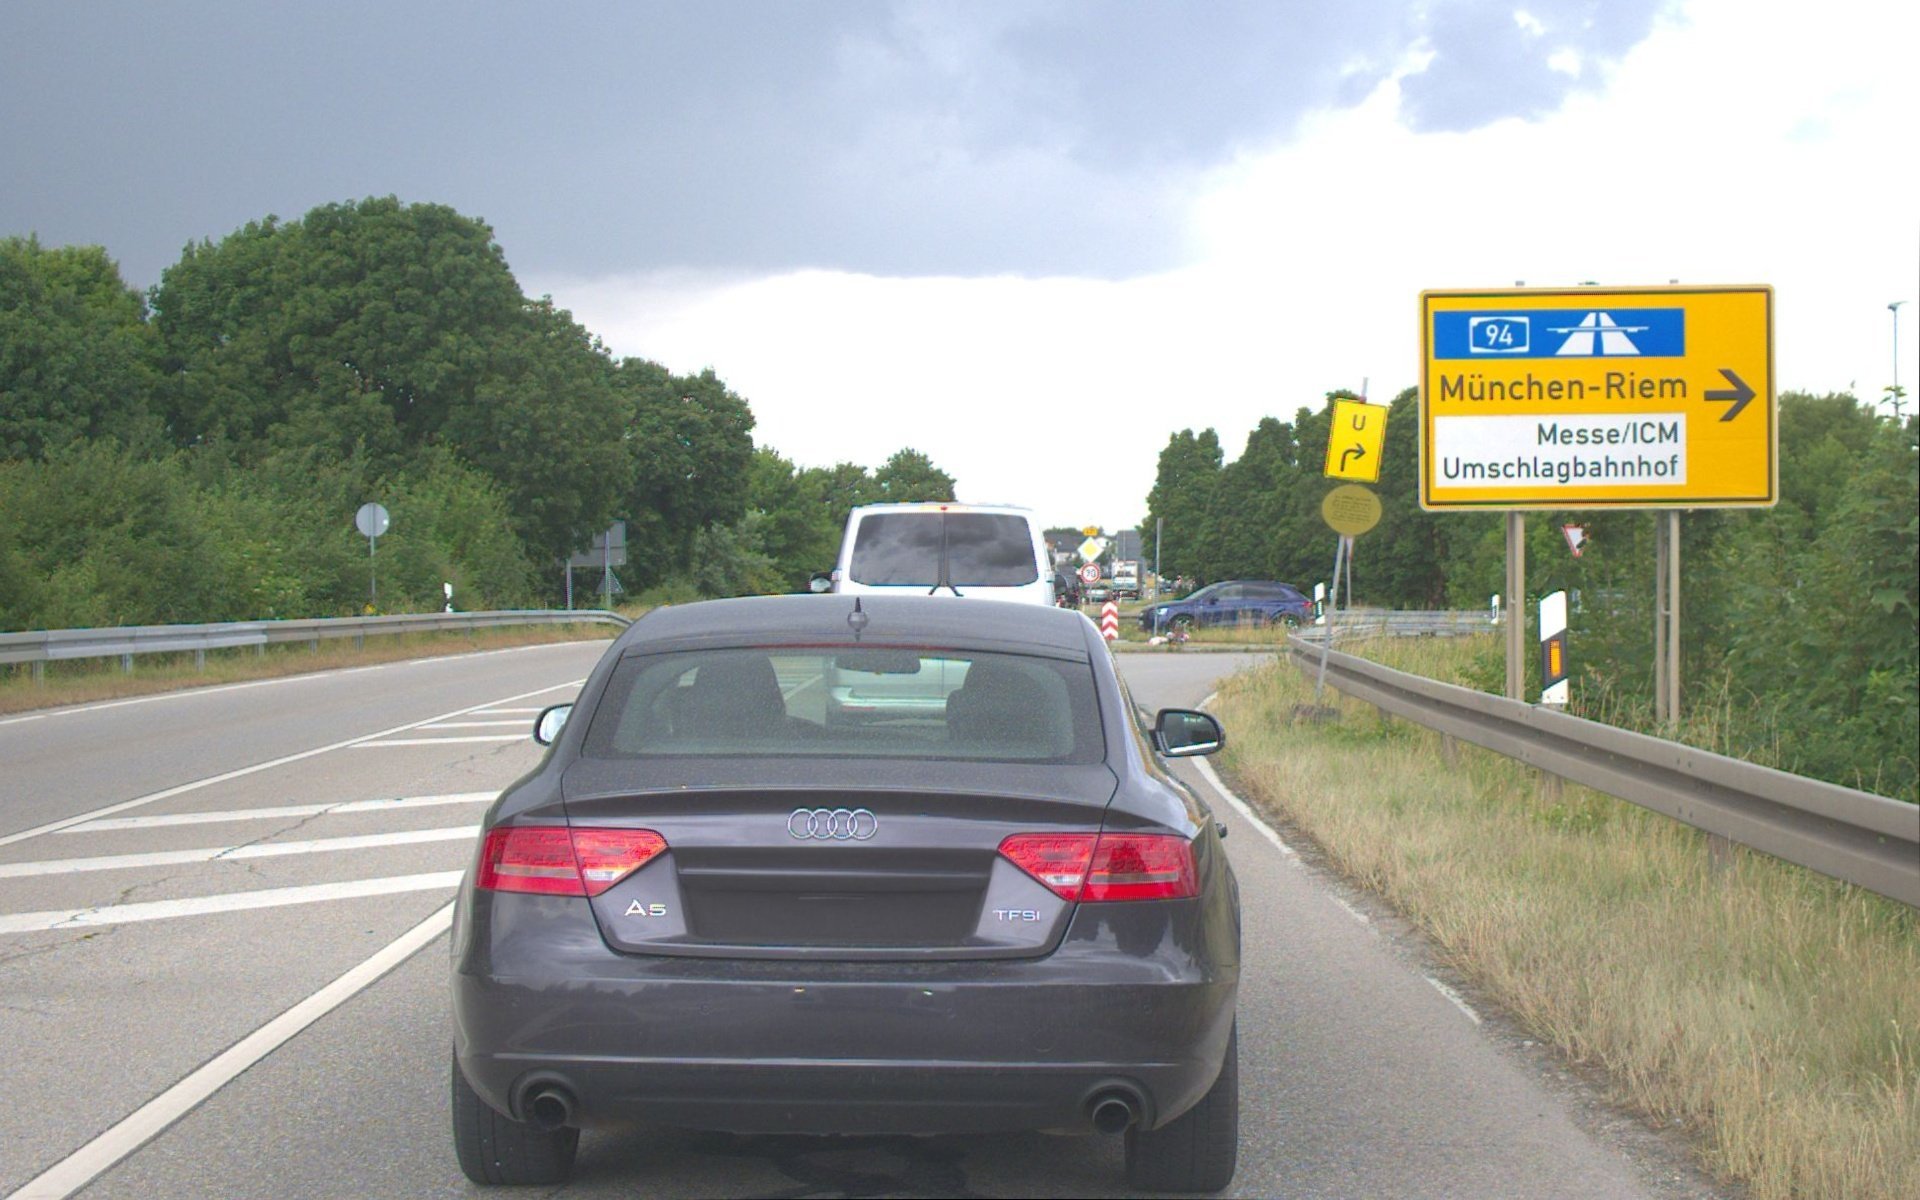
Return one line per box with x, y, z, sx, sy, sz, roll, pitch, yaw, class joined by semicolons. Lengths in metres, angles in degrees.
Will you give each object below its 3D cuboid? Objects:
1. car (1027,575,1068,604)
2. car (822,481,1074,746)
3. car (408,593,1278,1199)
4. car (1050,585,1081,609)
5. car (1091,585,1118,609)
5.015;-0.612;197.160;2.205;1.577;4.379;1;1;0;car
-0.104;0.071;28.395;1.910;2.007;4.000;1;1;0;car
-0.259;0.697;8.732;1.779;1.394;3.336;0;0;-1;car
6.652;-0.179;216.334;1.734;1.449;4.000;1;1;-1;car
10.736;-0.243;255.014;1.994;1.686;4.000;1;1;2;car
